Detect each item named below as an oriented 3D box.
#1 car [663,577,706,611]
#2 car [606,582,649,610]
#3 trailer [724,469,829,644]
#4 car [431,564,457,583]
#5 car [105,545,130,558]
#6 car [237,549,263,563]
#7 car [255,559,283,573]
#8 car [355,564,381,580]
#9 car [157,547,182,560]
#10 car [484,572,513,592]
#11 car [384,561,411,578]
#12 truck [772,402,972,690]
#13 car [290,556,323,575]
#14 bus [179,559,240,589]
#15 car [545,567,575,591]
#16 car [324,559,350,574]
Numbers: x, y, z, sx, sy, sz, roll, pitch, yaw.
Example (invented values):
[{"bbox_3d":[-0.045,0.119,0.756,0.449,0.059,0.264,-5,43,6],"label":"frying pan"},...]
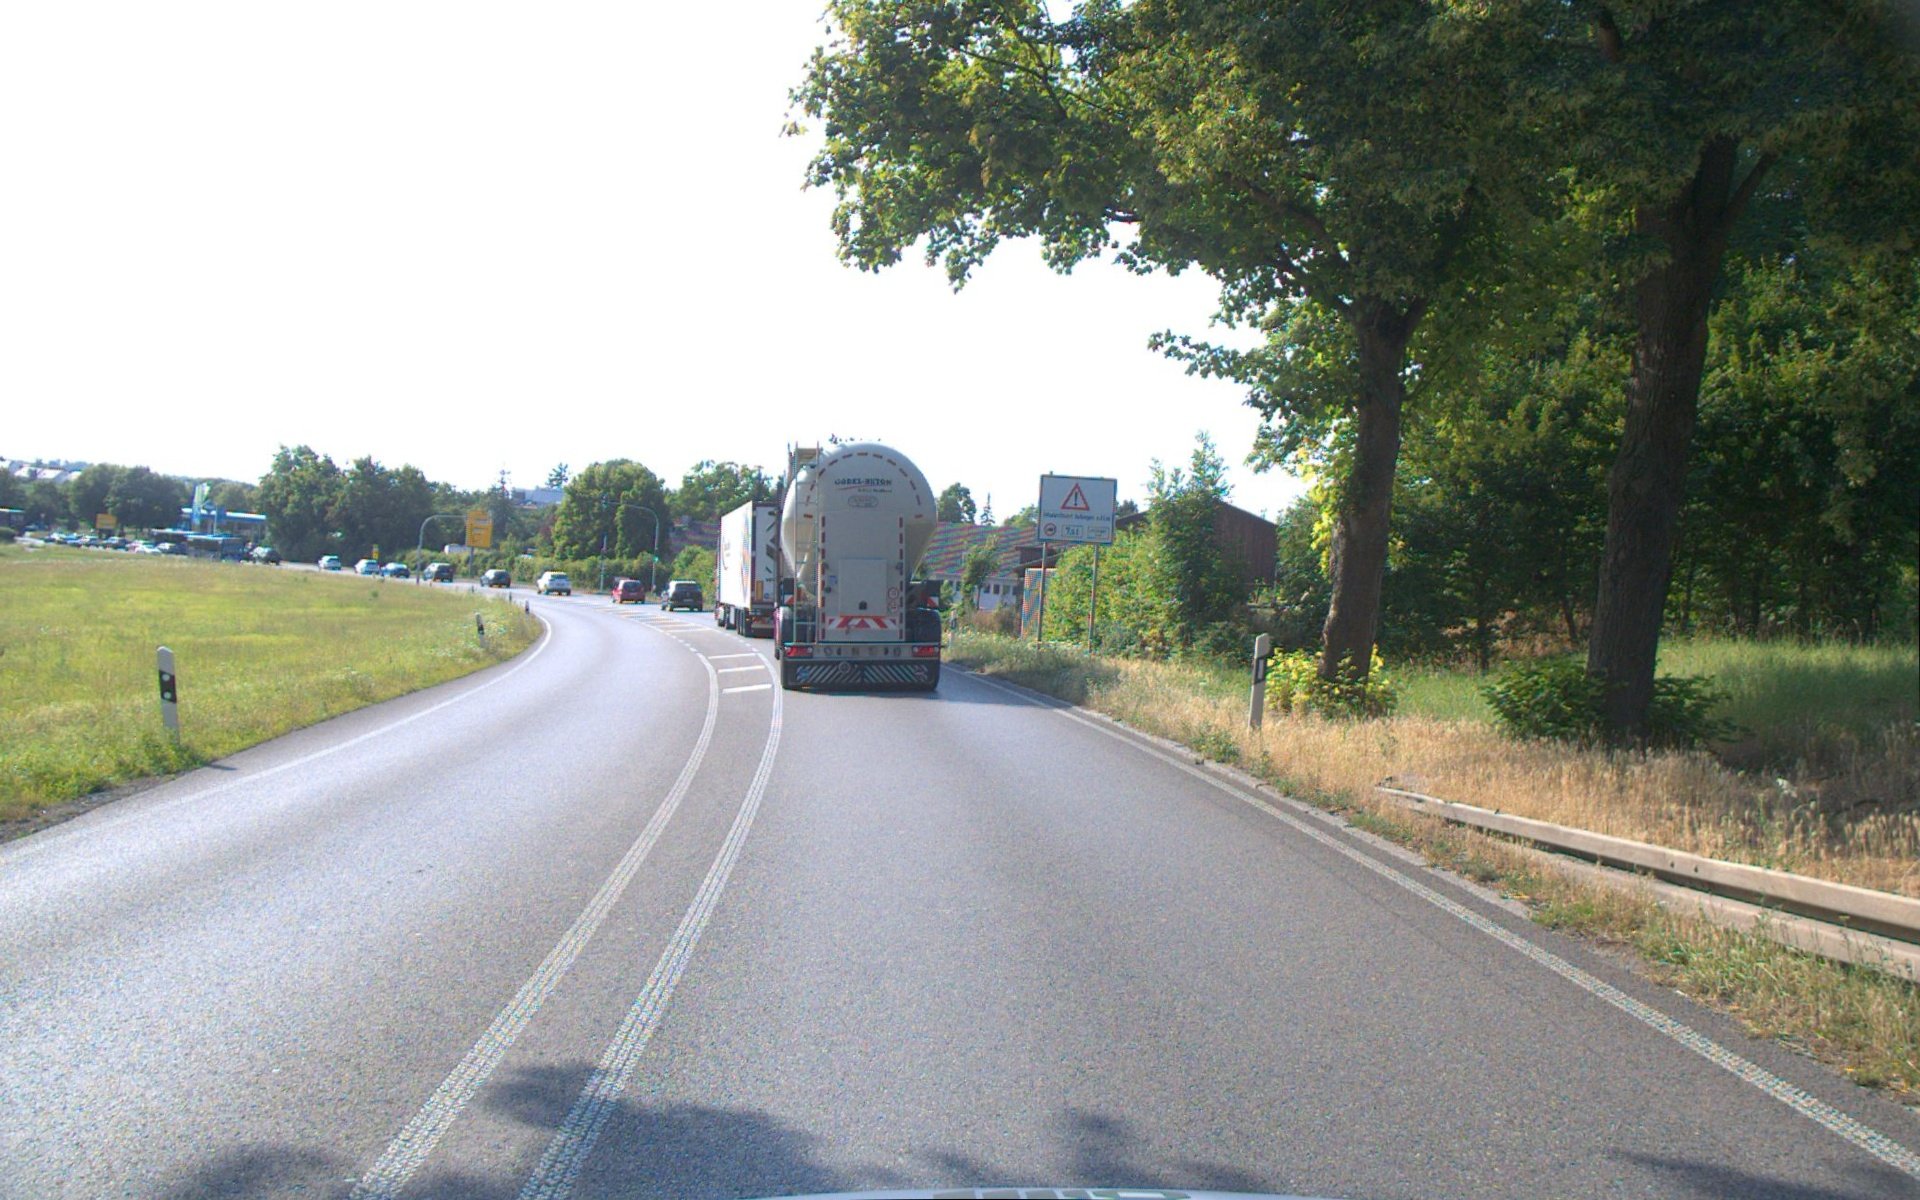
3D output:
[{"bbox_3d":[-14.481,-0.296,86.796,1.959,1.685,3.987,1,0,-12],"label":"car"},{"bbox_3d":[-20.966,-0.242,104.267,2.262,1.685,4.395,1,0,-16],"label":"car"},{"bbox_3d":[-5.876,-1.221,52.787,2.908,4.967,10.272,1,0,-7],"label":"trailer"},{"bbox_3d":[-48.289,-2.443,154.754,1.502,1.685,3.835,1,-1,-29],"label":"car"},{"bbox_3d":[-114.761,-6.609,225.319,3.933,1.627,1.875,2,1,45],"label":"car"},{"bbox_3d":[-87.127,-5.422,202.914,2.071,1.627,3.946,1,1,-38],"label":"car"},{"bbox_3d":[-81.532,-4.025,195.094,2.071,1.627,3.946,1,1,-38],"label":"car"},{"bbox_3d":[-62.437,-2.950,174.352,1.663,1.586,3.827,2,-1,-33],"label":"car"},{"bbox_3d":[-103.799,-6.080,217.203,2.071,1.627,3.946,1,1,-38],"label":"car"},{"bbox_3d":[-39.427,-1.535,141.324,1.502,1.685,3.835,1,-1,-29],"label":"car"},{"bbox_3d":[-56.081,-3.054,164.885,1.663,1.586,3.827,2,-1,-33],"label":"car"},{"bbox_3d":[-1.969,-0.776,30.624,2.919,4.248,11.645,1,0,-7],"label":"truck"},{"bbox_3d":[-60.663,-3.213,153.500,1.827,1.685,3.948,2,-1,-36],"label":"car"},{"bbox_3d":[-84.908,-2.948,186.960,2.779,3.237,11.941,2,-1,-42],"label":"bus"},{"bbox_3d":[-29.943,-1.555,123.782,1.813,1.685,3.977,1,0,-19],"label":"car"},{"bbox_3d":[-70.409,-3.769,186.881,1.958,1.685,3.827,2,-1,-34],"label":"car"}]
